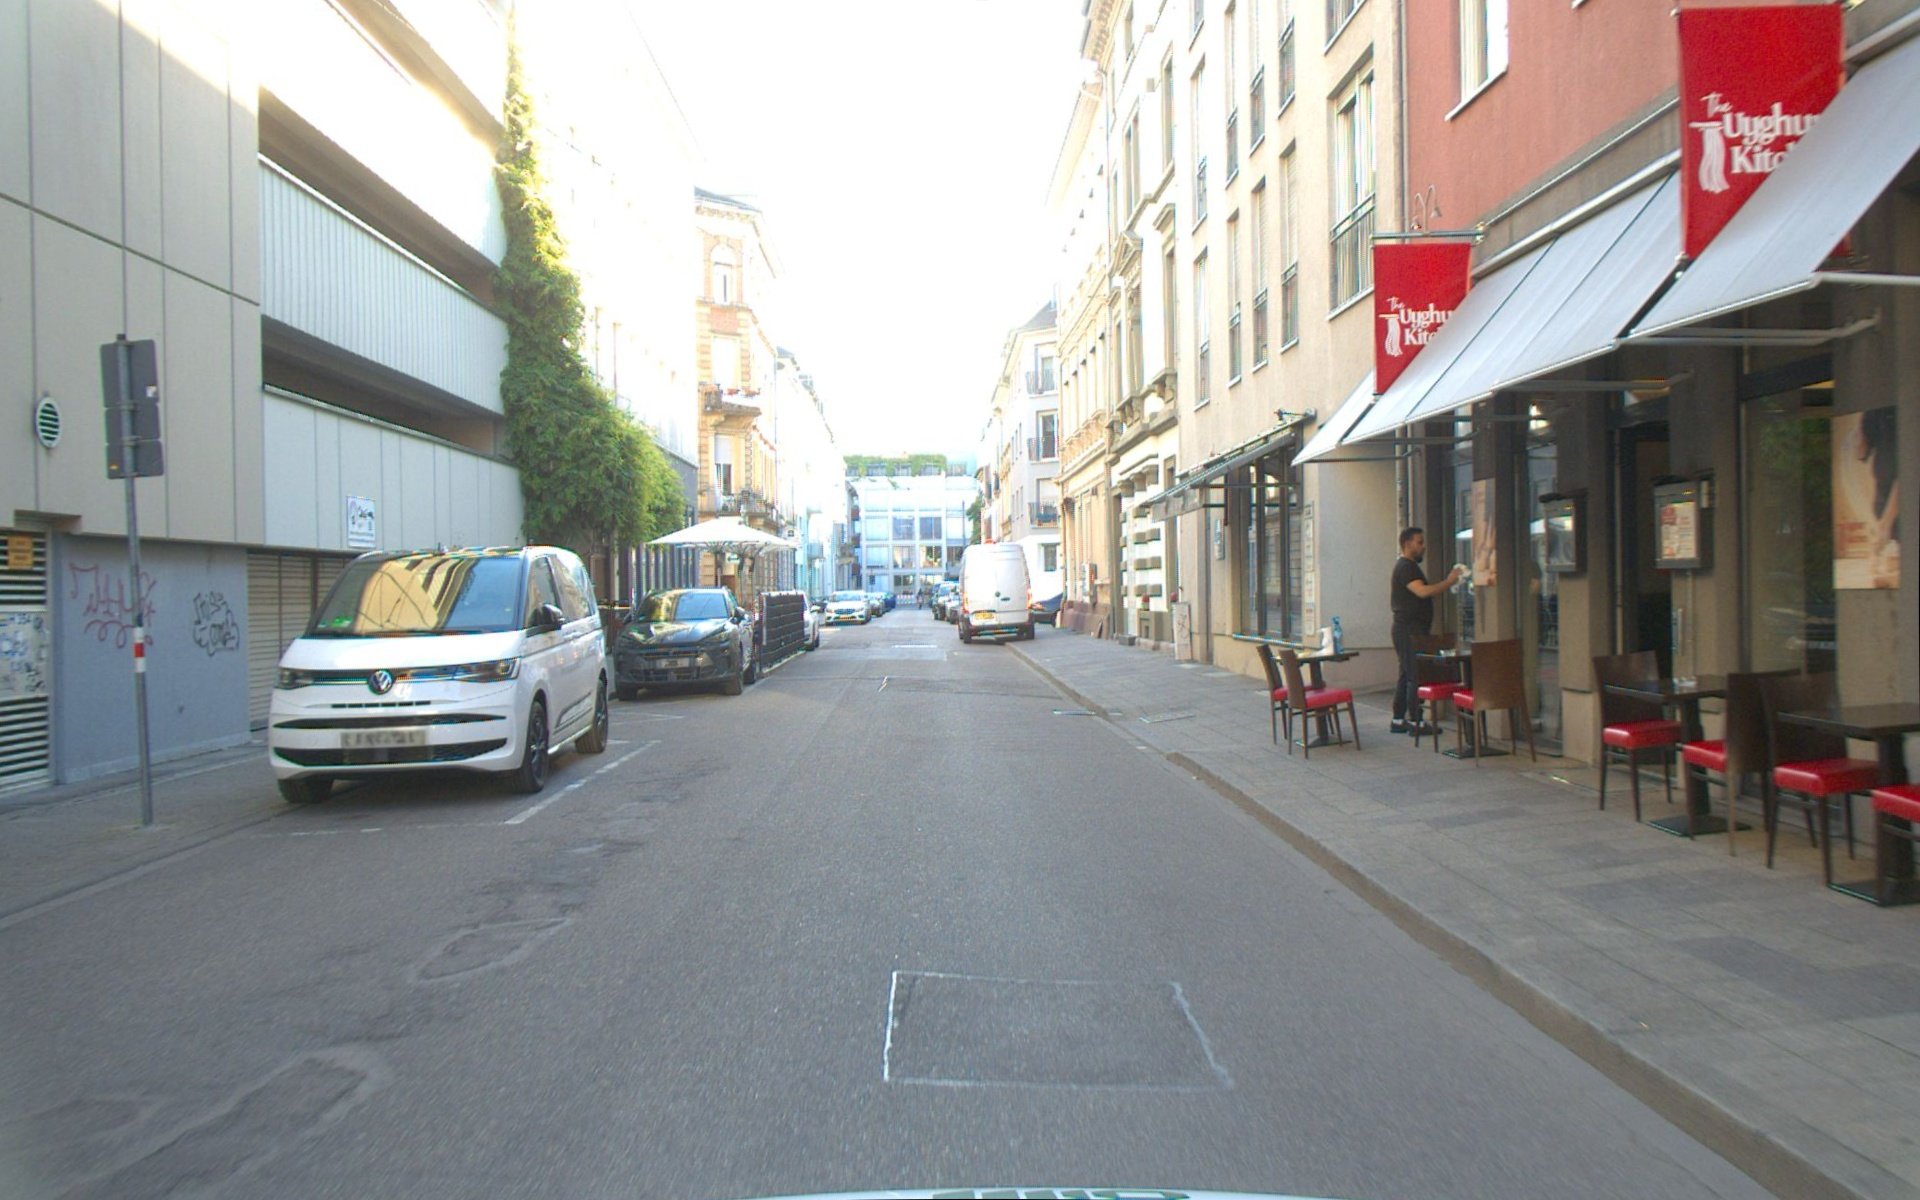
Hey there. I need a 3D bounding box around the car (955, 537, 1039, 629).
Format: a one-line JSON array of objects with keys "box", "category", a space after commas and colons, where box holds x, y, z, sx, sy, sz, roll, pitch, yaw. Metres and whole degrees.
[{"box": [0.990, -0.493, 47.882, 2.230, 2.482, 6.203, -1, 1, 0], "category": "car"}]

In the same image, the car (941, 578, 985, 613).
[{"box": [0.128, -0.246, 78.481, 1.924, 1.584, 3.887, -1, 1, -2], "category": "car"}]

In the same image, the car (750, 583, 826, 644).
[{"box": [-4.276, 0.314, 41.465, 1.624, 1.438, 3.880, -1, 0, -2], "category": "car"}]

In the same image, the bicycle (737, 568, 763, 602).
[{"box": [-5.876, -0.413, 46.355, 0.584, 0.921, 1.643, -1, 1, -3], "category": "bicycle"}]

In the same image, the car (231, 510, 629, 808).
[{"box": [-4.153, 0.381, 13.889, 1.954, 1.973, 4.847, -3, 1, -3], "category": "car"}]

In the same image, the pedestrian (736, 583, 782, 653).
[{"box": [-3.839, 0.337, 31.679, 0.765, 1.309, 0.915, -1, 0, -1], "category": "pedestrian"}]

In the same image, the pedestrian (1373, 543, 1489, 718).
[{"box": [4.210, 0.266, 14.805, 0.808, 1.512, 0.661, -1, 1, -3], "category": "pedestrian"}]

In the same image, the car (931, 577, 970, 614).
[{"box": [-0.507, -0.255, 83.805, 1.855, 1.815, 3.998, -1, 1, -2], "category": "car"}]

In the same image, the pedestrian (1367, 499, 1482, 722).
[{"box": [3.975, 0.083, 14.197, 0.645, 1.823, 0.730, -4, 1, -3], "category": "pedestrian"}]

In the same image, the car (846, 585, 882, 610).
[{"box": [-5.587, -0.156, 96.240, 1.953, 1.378, 4.427, -1, 1, -2], "category": "car"}]

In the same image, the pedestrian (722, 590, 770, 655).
[{"box": [-3.968, 0.411, 30.686, 0.542, 1.186, 0.740, -1, 0, 30], "category": "pedestrian"}]

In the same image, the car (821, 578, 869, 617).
[{"box": [-5.067, -0.113, 73.364, 1.954, 1.591, 4.503, -3, 1, -3], "category": "car"}]

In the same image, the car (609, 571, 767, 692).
[{"box": [-4.106, 0.418, 25.663, 1.844, 1.595, 4.768, -3, 1, -3], "category": "car"}]

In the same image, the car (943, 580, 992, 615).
[{"box": [0.317, -0.120, 72.416, 1.899, 1.396, 3.787, -3, 1, -3], "category": "car"}]
